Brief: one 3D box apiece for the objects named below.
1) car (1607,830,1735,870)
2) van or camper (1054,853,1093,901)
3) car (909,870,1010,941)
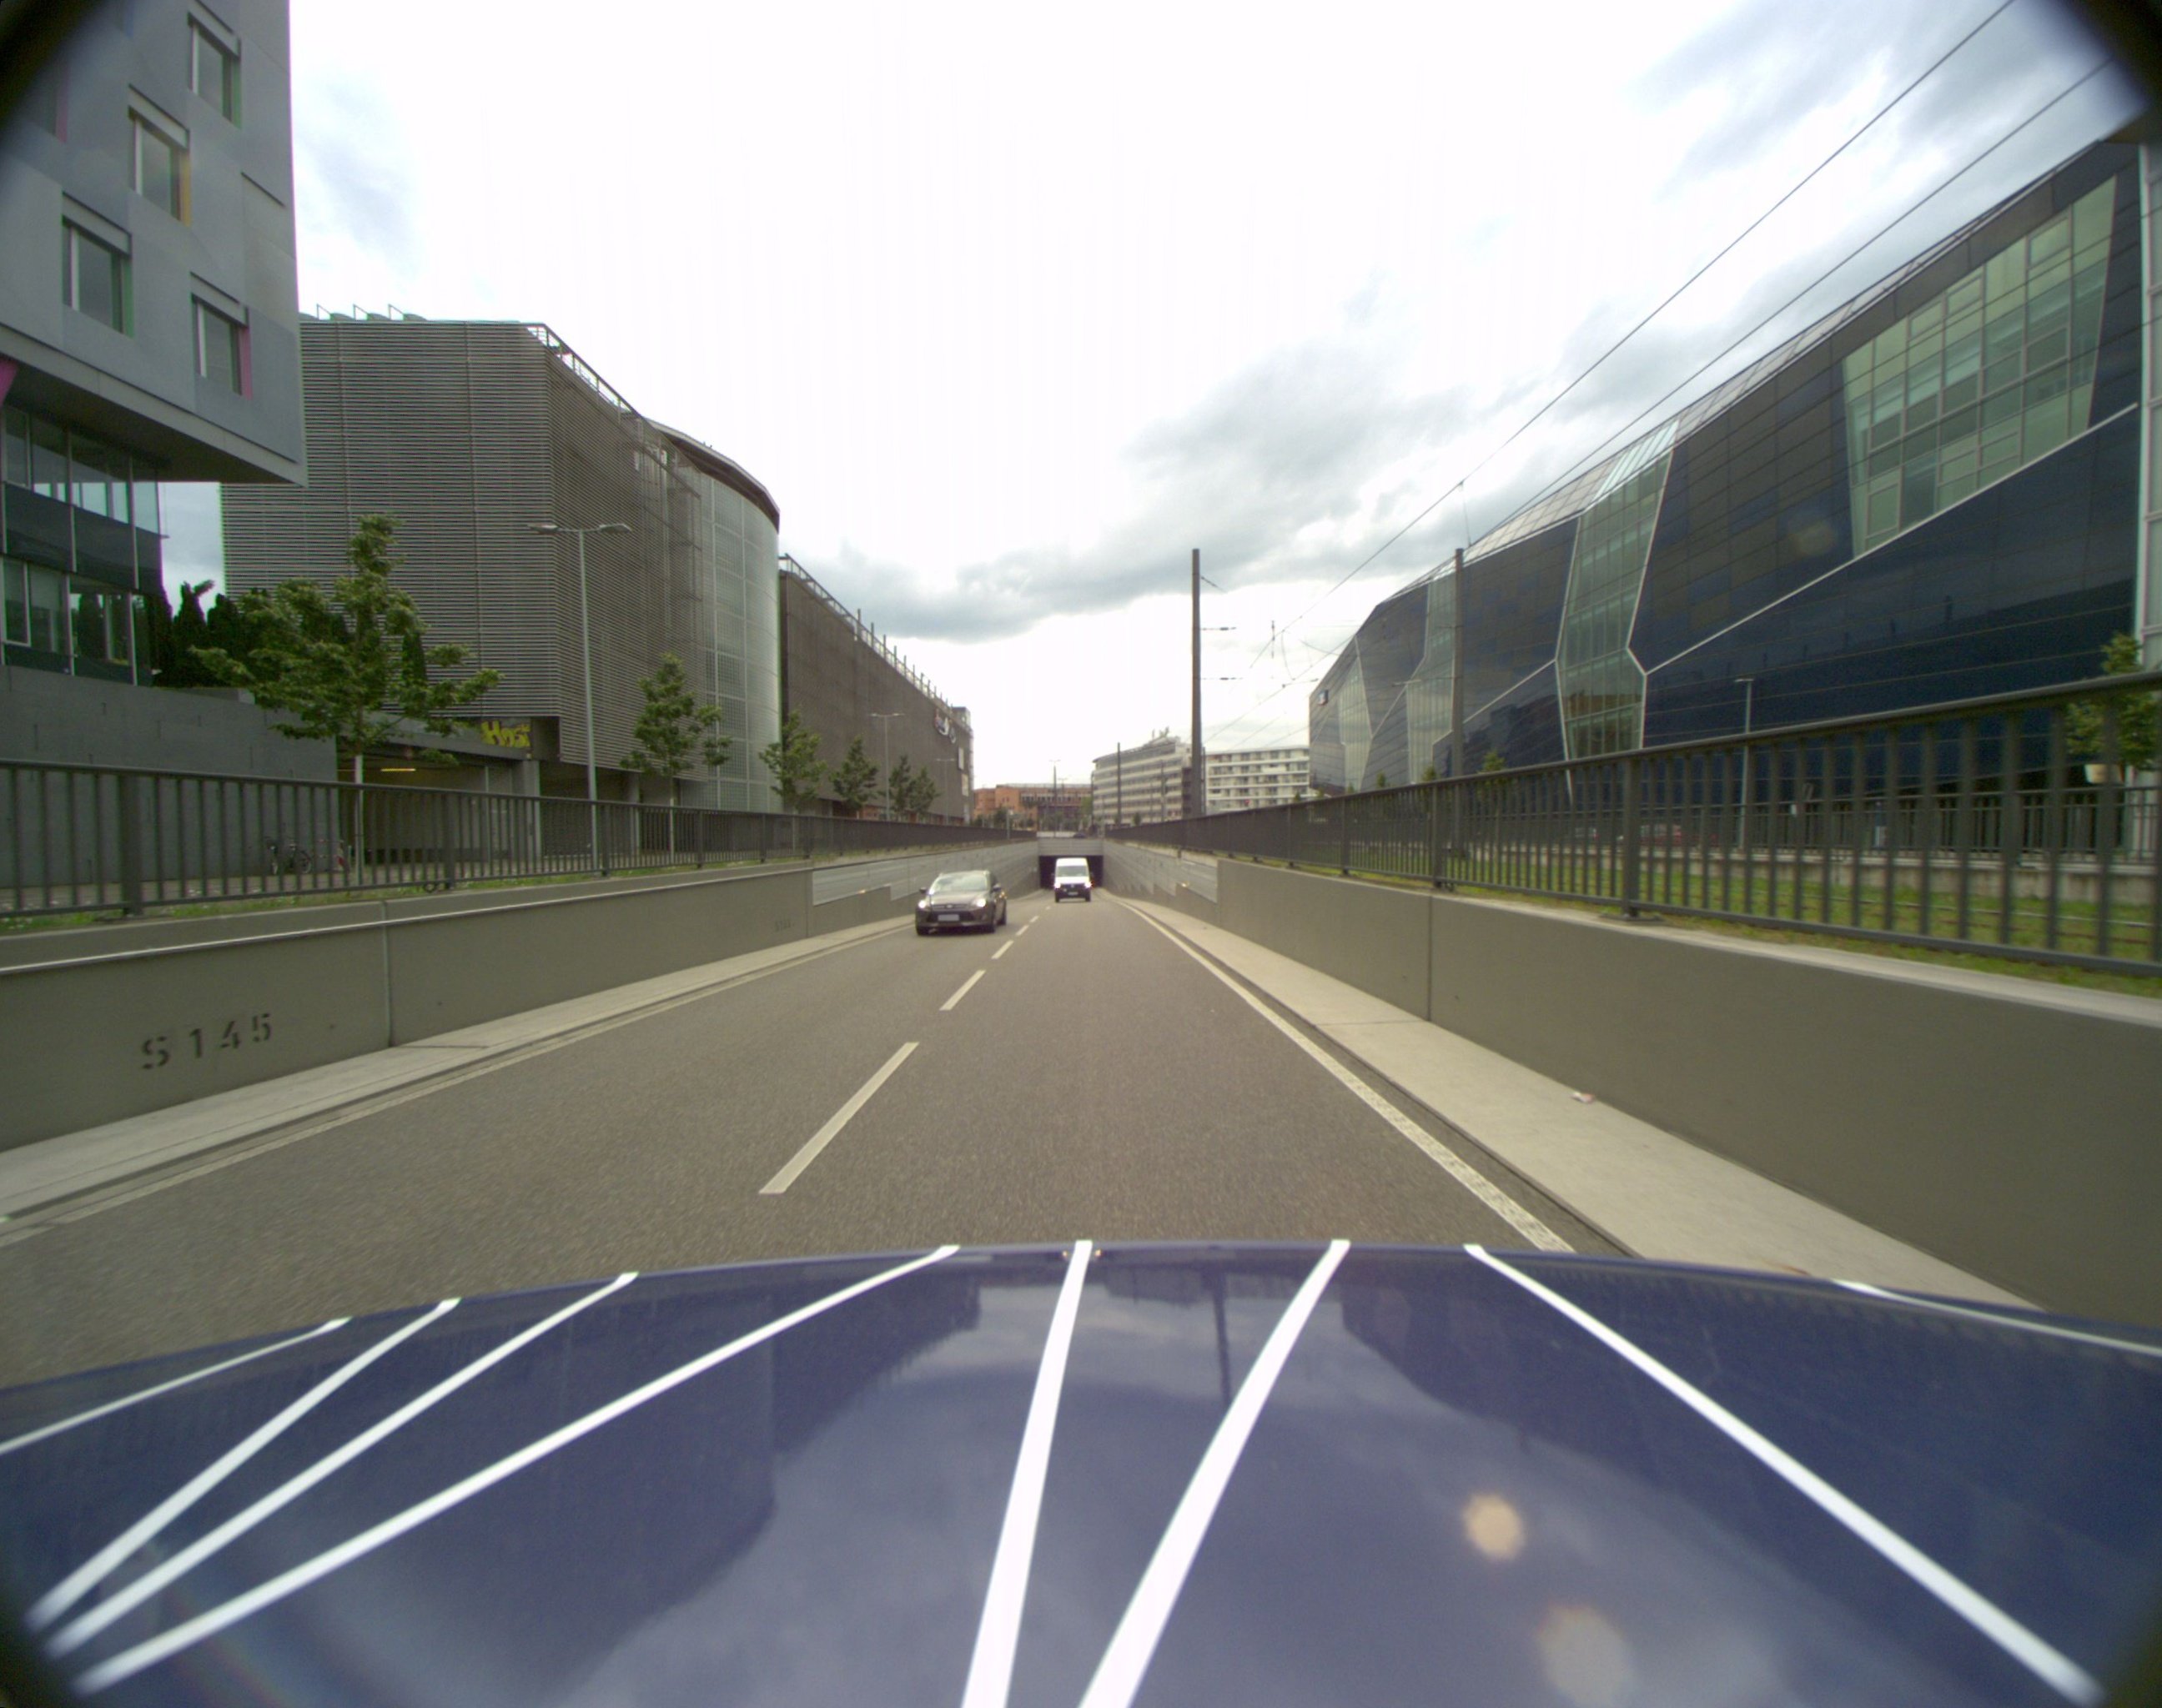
[{"bbox_3d":[25.233,-0.156,32.767,1.998,1.583,4.767,-1,0,3],"label":"car"},{"bbox_3d":[-0.411,1.391,44.072,2.043,2.570,5.044,-1,-3,0],"label":"van or camper"},{"bbox_3d":[-2.874,1.180,18.849,1.752,1.490,4.269,-1,-1,1],"label":"car"}]
